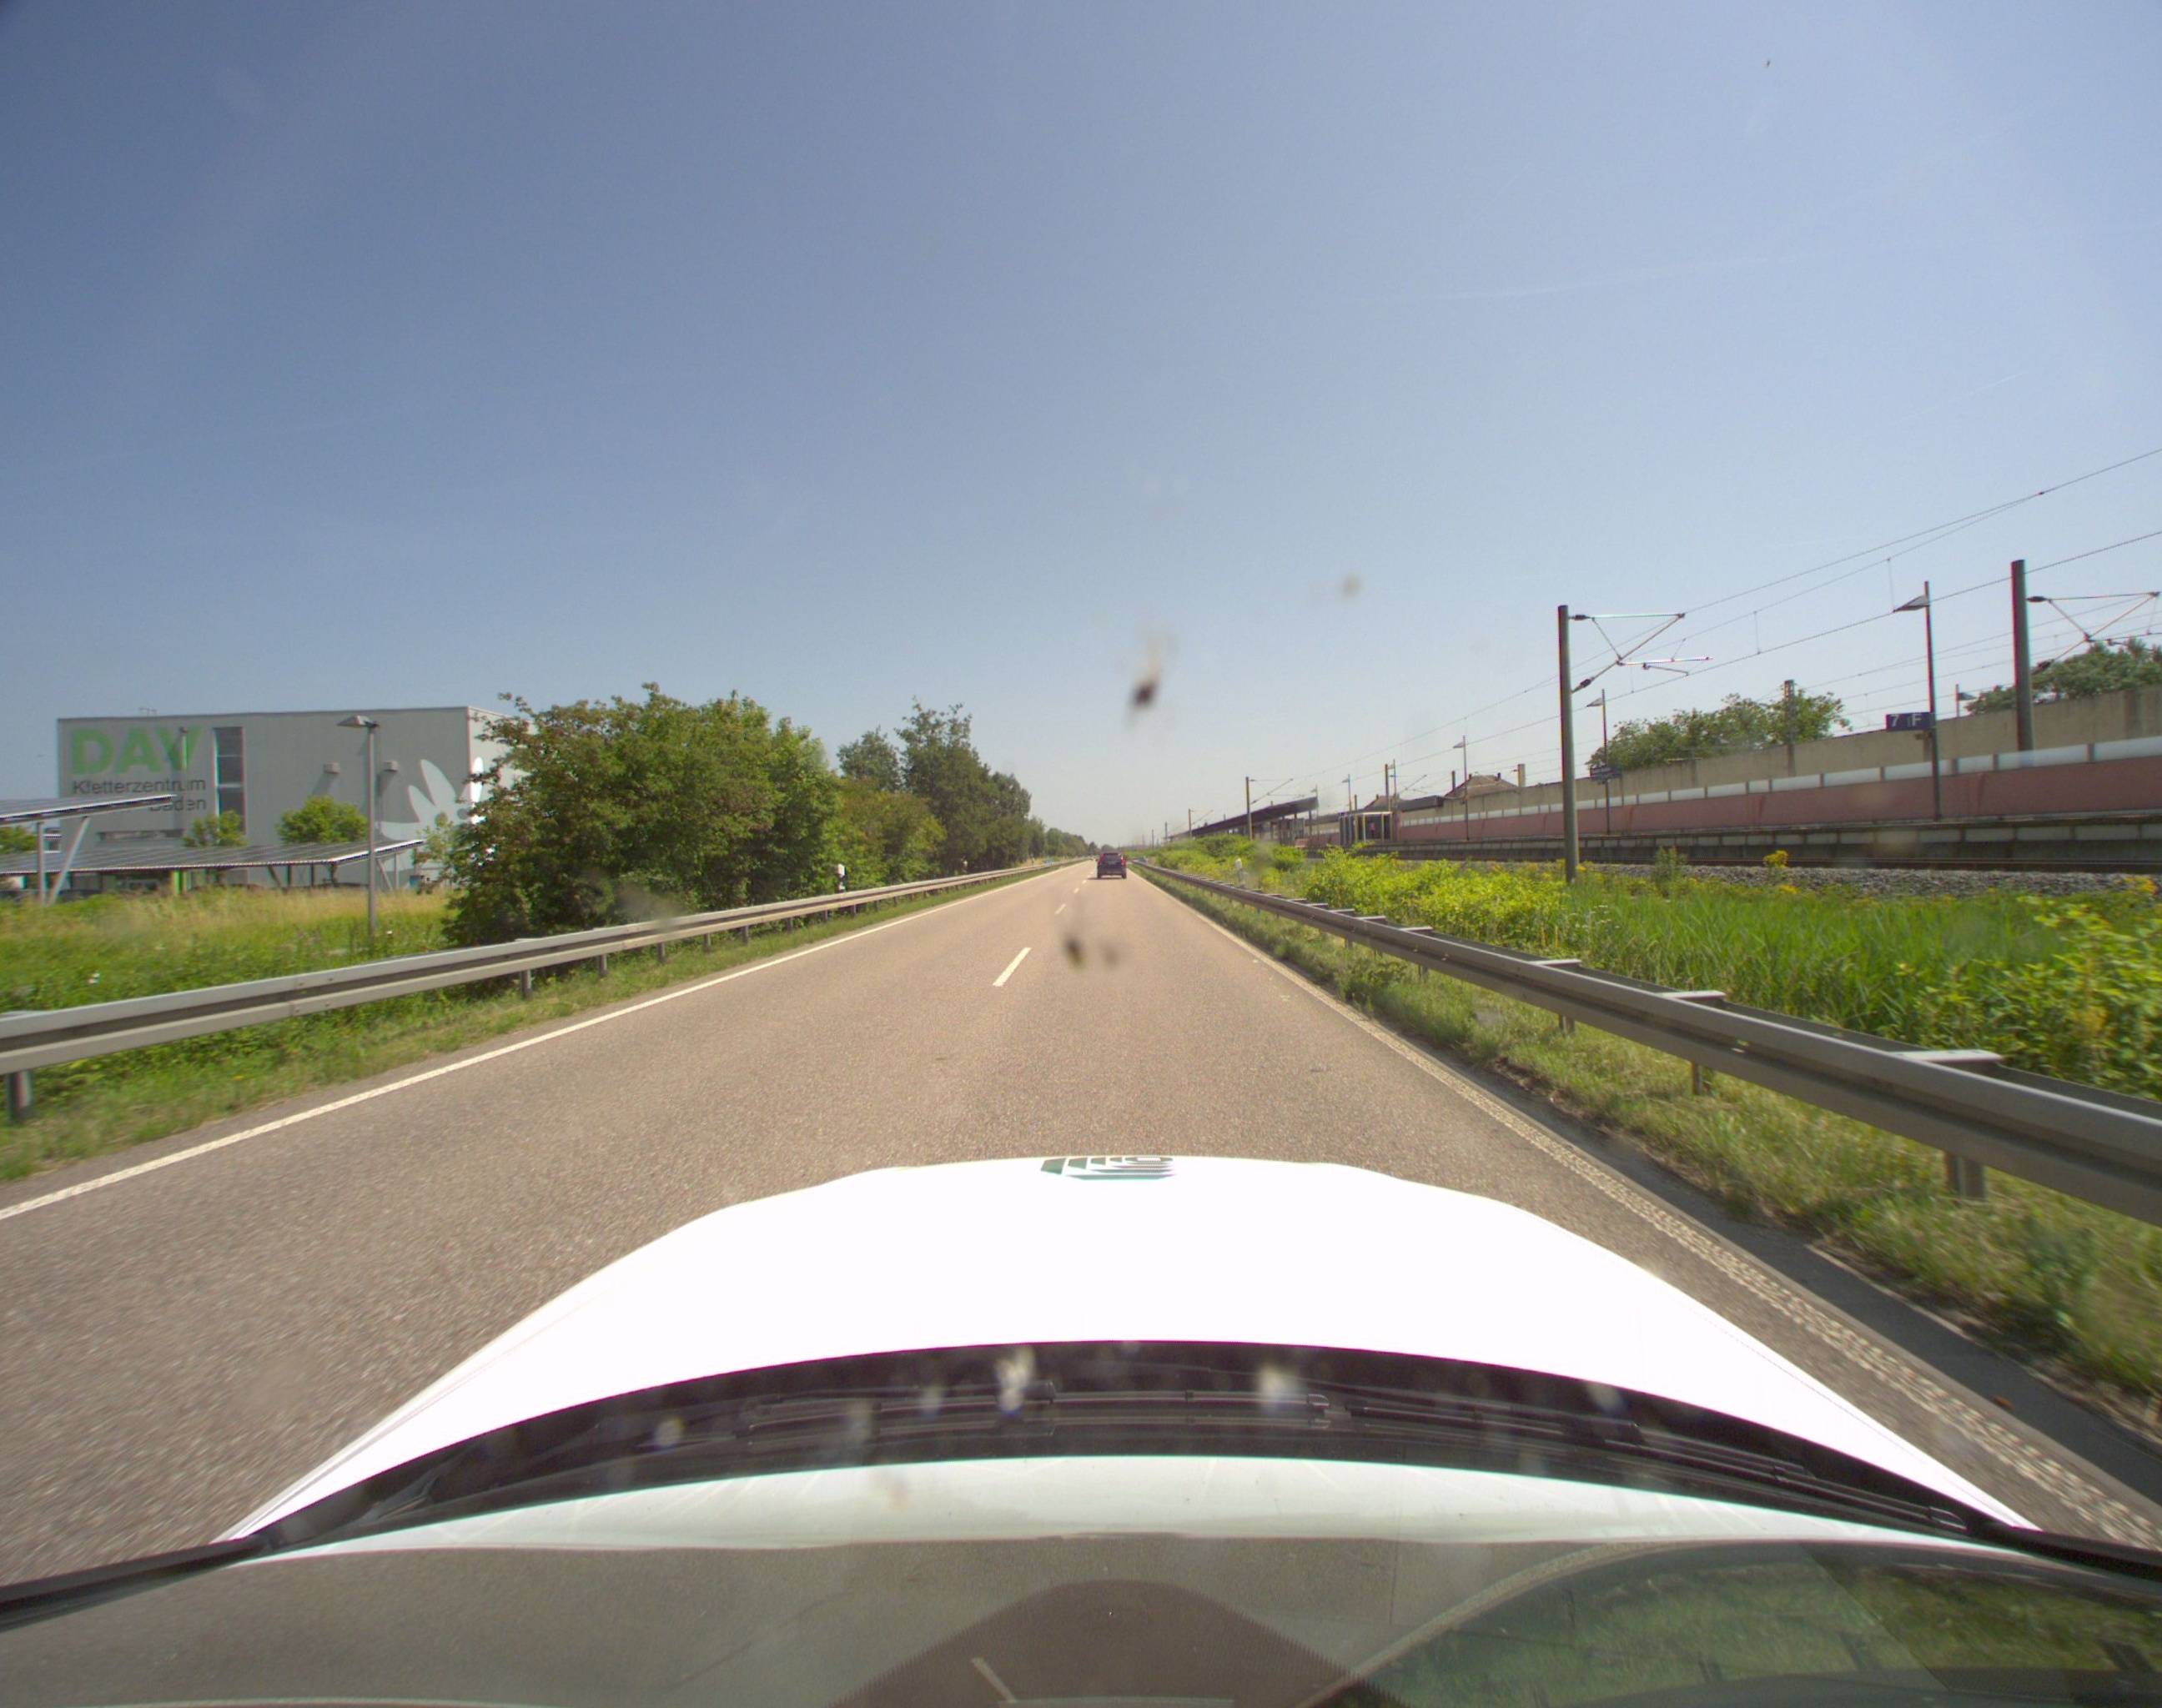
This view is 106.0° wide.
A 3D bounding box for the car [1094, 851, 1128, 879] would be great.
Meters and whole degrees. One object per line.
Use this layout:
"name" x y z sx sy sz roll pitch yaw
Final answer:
"car" 1.883 0.685 52.863 1.987 1.700 3.999 -1 0 -1
